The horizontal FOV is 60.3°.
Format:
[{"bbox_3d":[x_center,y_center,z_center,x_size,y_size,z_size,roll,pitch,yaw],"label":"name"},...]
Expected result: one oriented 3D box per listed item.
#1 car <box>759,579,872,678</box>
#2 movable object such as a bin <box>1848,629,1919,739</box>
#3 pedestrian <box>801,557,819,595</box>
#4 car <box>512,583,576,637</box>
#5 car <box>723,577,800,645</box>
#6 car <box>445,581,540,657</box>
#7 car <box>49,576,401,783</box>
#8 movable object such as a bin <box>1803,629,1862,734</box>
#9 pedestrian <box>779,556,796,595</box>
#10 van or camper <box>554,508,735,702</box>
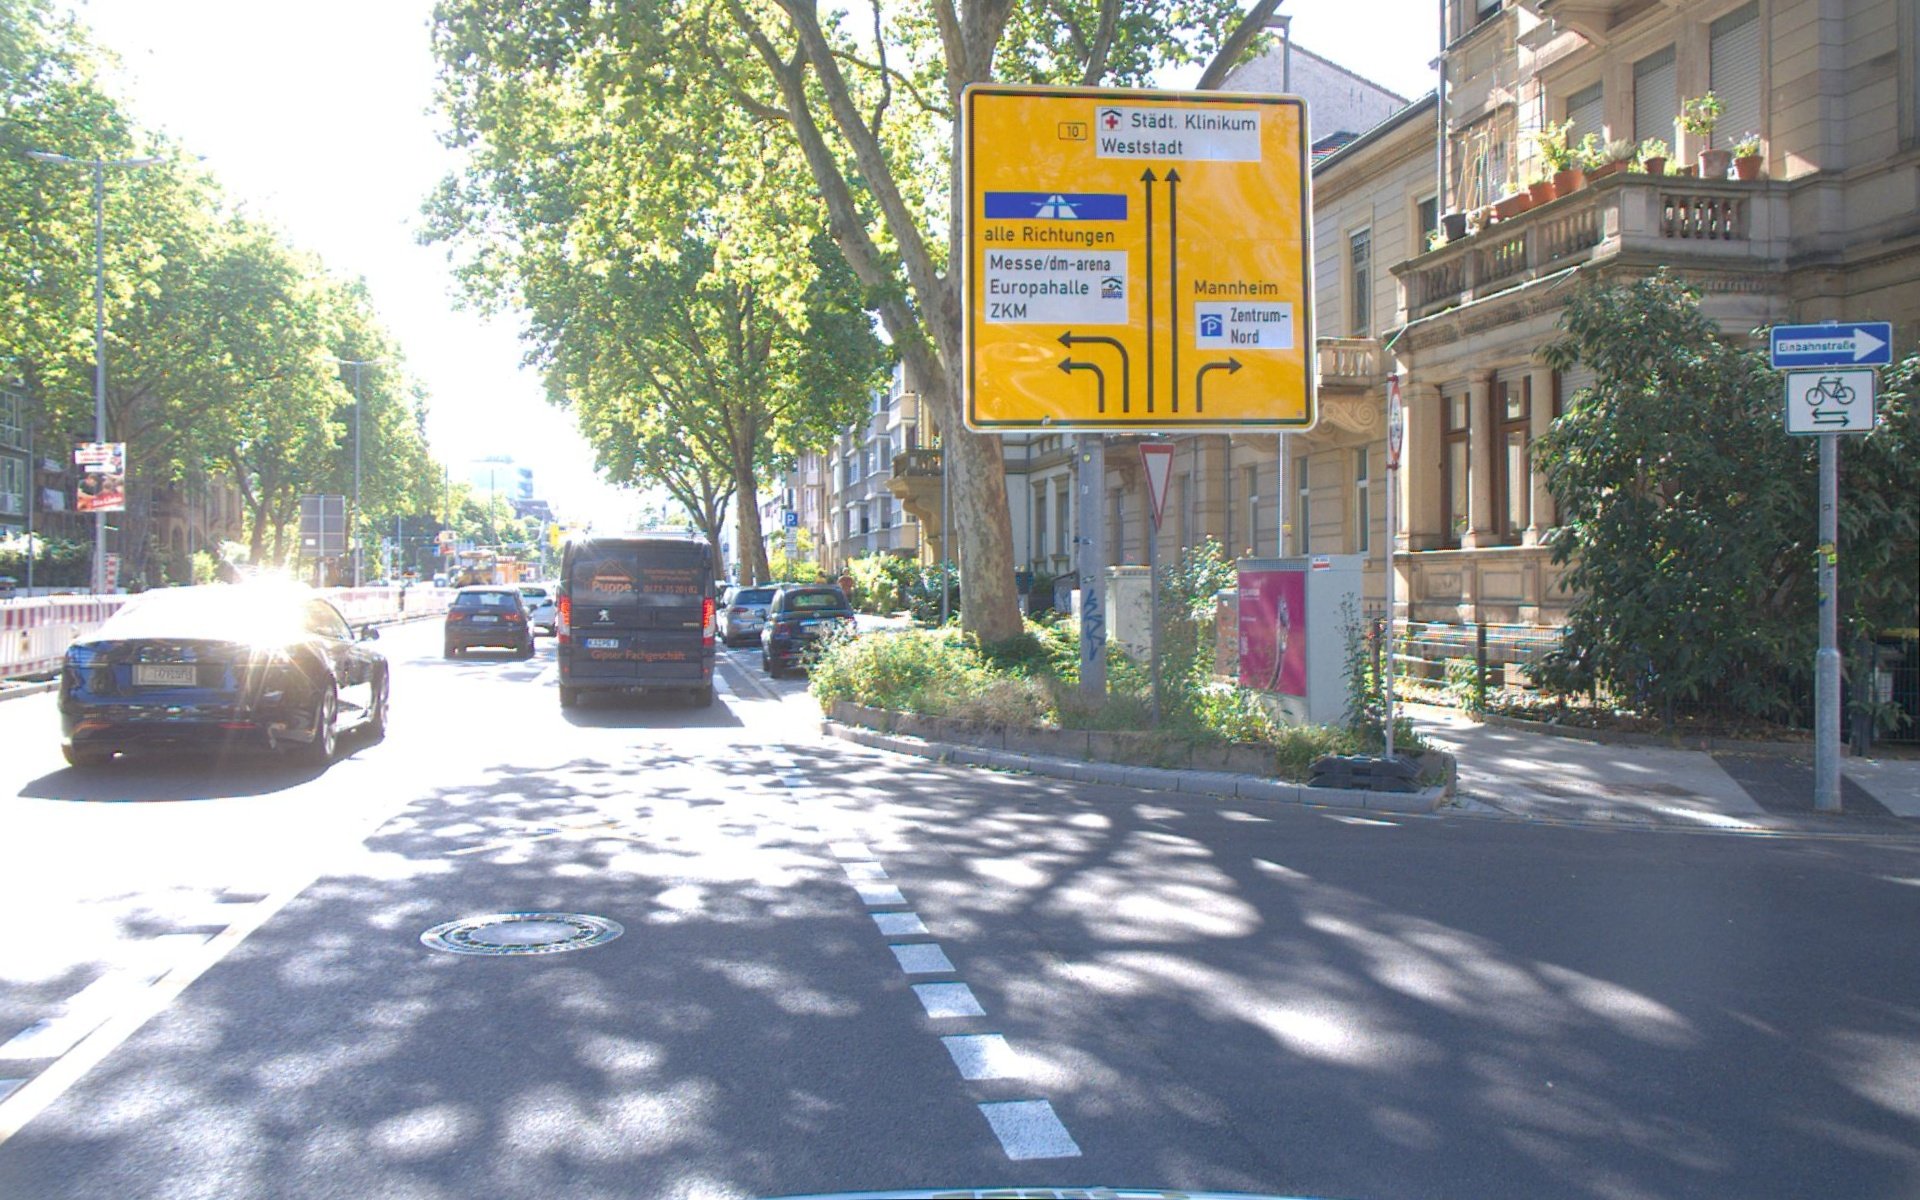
[{"bbox_3d":[-2.601,0.455,29.104,1.740,1.596,3.992,-1,0,-9],"label":"car"},{"bbox_3d":[8.777,0.771,15.436,0.674,0.987,0.547,-1,0,-9],"label":"movable object such as a bin"},{"bbox_3d":[-9.405,-1.501,103.692,1.038,2.387,0.815,1,0,-8],"label":"pedestrian"},{"bbox_3d":[-12.121,0.262,48.339,1.591,1.512,3.724,1,0,-11],"label":"car"},{"bbox_3d":[-5.008,0.254,41.383,1.740,1.596,3.992,-1,0,-9],"label":"car"},{"bbox_3d":[-9.828,0.376,34.984,1.591,1.512,3.724,1,0,-11],"label":"car"},{"bbox_3d":[-6.145,0.566,14.392,1.805,1.509,4.464,0,0,-11],"label":"car"},{"bbox_3d":[8.413,0.781,15.956,0.337,0.987,0.381,-1,0,-9],"label":"movable object such as a bin"},{"bbox_3d":[-10.832,-1.526,103.856,1.038,2.387,0.815,1,0,-8],"label":"pedestrian"},{"bbox_3d":[-4.389,0.052,22.840,2.206,2.387,4.524,0,0,-12],"label":"van or camper"}]
